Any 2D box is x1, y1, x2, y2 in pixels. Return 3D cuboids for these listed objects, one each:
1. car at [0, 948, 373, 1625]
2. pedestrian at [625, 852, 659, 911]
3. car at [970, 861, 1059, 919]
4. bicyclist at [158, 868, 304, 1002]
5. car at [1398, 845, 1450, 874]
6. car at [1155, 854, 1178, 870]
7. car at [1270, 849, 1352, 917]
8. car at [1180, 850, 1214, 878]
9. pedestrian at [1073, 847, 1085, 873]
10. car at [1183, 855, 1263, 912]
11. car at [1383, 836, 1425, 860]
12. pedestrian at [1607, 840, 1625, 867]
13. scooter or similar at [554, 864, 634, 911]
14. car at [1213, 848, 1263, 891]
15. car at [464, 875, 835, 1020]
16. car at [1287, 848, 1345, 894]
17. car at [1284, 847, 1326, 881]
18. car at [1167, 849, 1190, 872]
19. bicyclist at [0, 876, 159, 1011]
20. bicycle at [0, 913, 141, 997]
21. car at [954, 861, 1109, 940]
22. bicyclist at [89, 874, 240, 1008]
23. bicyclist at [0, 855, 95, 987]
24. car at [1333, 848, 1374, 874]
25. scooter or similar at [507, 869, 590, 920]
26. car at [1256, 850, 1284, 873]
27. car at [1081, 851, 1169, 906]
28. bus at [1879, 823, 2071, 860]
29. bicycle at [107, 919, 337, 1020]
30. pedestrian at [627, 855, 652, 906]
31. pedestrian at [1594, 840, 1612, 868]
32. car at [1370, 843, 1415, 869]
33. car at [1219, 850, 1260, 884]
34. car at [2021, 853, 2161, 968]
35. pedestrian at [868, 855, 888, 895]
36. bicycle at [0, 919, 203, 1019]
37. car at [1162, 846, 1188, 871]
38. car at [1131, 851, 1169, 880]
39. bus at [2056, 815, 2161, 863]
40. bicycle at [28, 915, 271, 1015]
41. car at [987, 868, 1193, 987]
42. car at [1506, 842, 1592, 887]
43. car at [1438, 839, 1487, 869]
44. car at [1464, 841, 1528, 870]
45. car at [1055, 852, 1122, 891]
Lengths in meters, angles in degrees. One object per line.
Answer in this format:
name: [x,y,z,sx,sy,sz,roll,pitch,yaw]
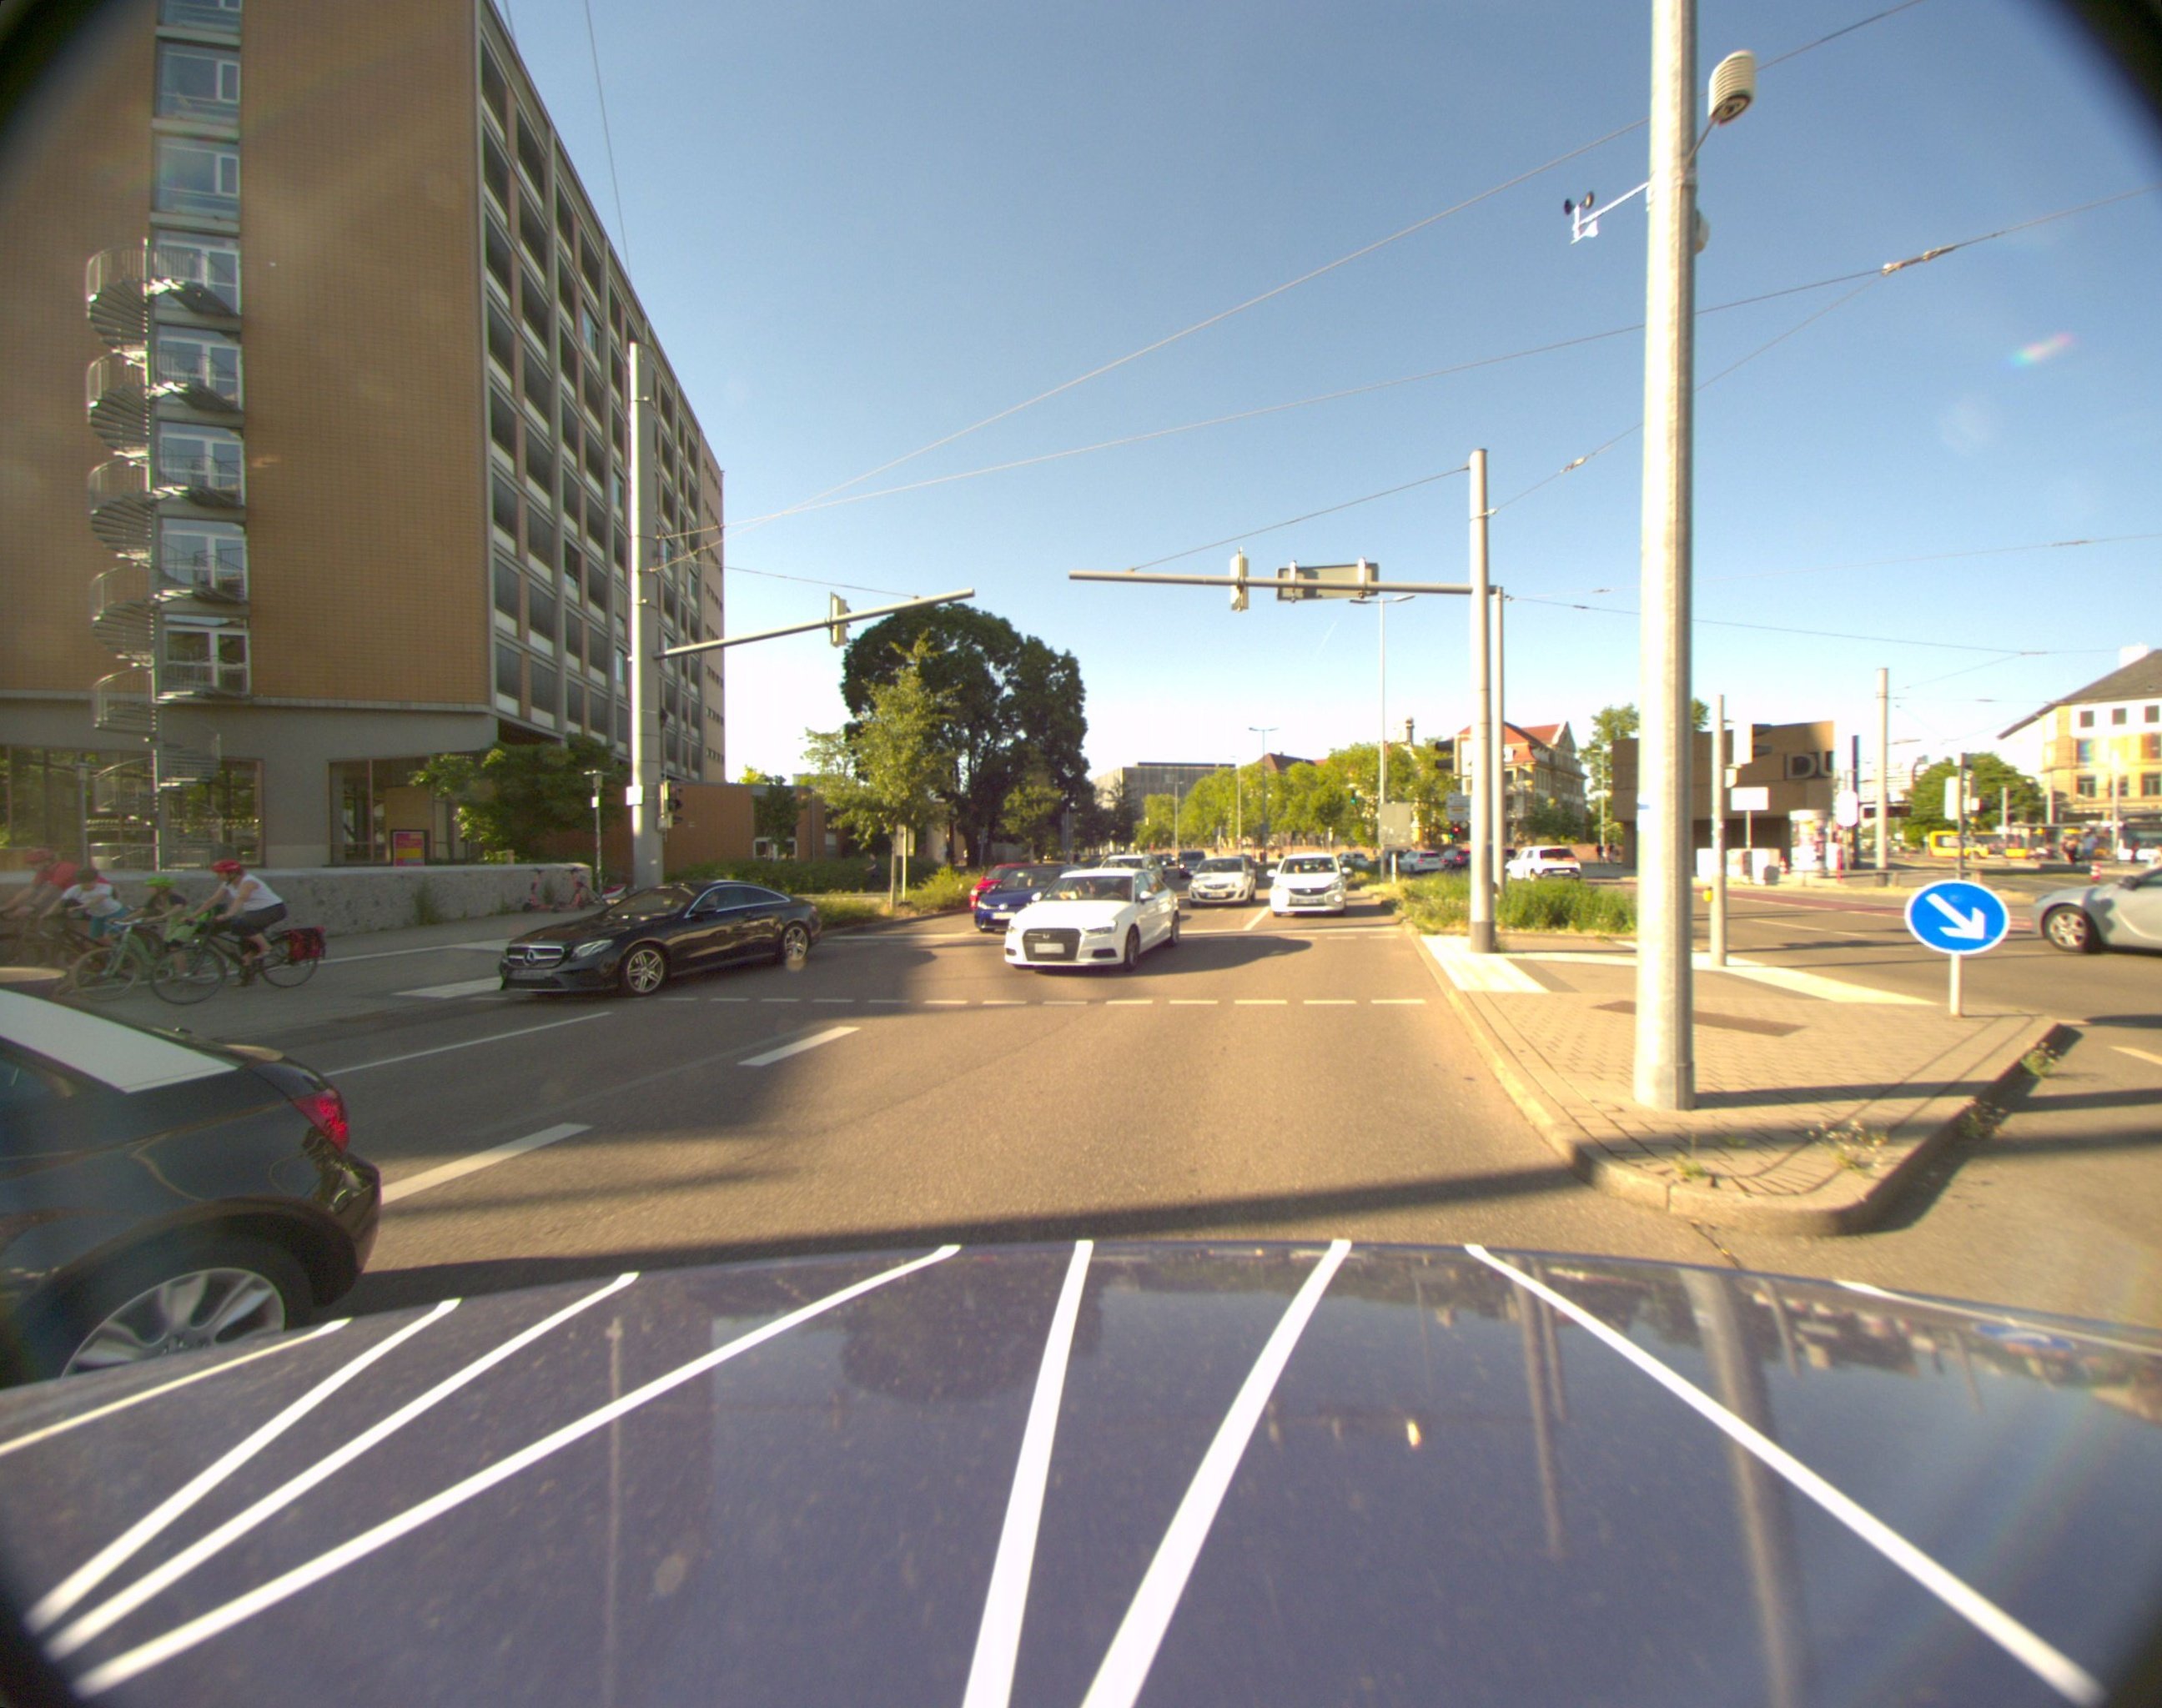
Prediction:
car: [-3.527,1.038,0.718,1.692,1.380,3.836,-1,0,15]
pedestrian: [-12.863,0.799,22.255,0.485,1.701,0.626,-3,0,35]
car: [-1.918,1.036,23.282,1.754,1.456,4.021,-1,2,9]
bicyclist: [-10.894,0.997,9.772,0.693,1.578,1.017,3,1,7]
car: [21.280,0.337,47.315,1.856,1.620,3.873,-4,0,8]
car: [10.074,0.955,89.736,1.999,1.674,4.707,-3,-1,-1]
car: [5.817,0.653,19.009,1.718,1.483,3.876,-2,0,19]
car: [7.660,0.614,50.054,1.820,1.718,4.004,-1,0,14]
pedestrian: [-0.122,0.385,50.511,0.564,1.651,0.593,-3,0,15]
car: [4.377,0.814,22.997,1.780,1.456,3.920,0,2,20]
car: [24.835,-0.441,58.531,1.856,1.620,3.872,-4,0,7]
pedestrian: [35.501,-0.044,50.408,0.802,1.758,0.975,-3,0,40]
scooter or similar: [-14.359,0.974,22.404,1.833,1.239,0.798,-3,0,-41]
car: [7.022,0.653,33.937,1.997,1.674,4.004,-3,-1,12]
car: [-5.881,1.161,11.175,1.814,1.483,4.660,-2,0,19]
car: [9.154,0.601,29.890,1.996,1.666,4.287,0,1,14]
car: [11.856,0.495,40.463,1.996,1.666,4.287,0,1,14]
car: [8.972,0.561,69.653,1.997,2.002,4.002,-1,0,8]
bicyclist: [-12.838,1.101,9.776,0.693,1.578,1.017,3,1,7]
bicycle: [-14.296,1.374,10.260,0.710,0.964,1.883,3,1,23]
car: [-0.958,0.991,17.733,1.814,1.483,4.660,-2,0,20]
bicyclist: [-11.841,1.079,9.849,0.693,1.578,1.017,3,1,7]
bicyclist: [-14.274,0.878,10.259,0.692,1.698,1.019,3,1,23]
car: [19.152,0.457,53.470,1.856,1.620,3.873,-4,0,8]
scooter or similar: [-14.586,1.095,20.864,1.710,1.239,0.798,-3,0,-27]
car: [14.325,0.560,57.594,1.996,1.666,4.287,0,1,14]
car: [1.509,0.727,24.430,1.996,1.597,4.004,-1,0,15]
bus: [93.925,-1.233,80.377,3.255,3.175,12.637,-3,-1,-26]
bicycle: [-10.913,1.427,9.773,0.711,0.964,1.881,3,1,7]
pedestrian: [-14.499,0.856,24.965,0.427,1.625,0.504,-3,0,8]
pedestrian: [34.619,0.006,50.351,0.802,1.758,0.975,-3,0,40]
car: [21.938,0.142,53.659,1.856,1.620,3.872,-4,0,7]
car: [8.815,0.691,41.921,1.997,1.674,4.004,-3,-1,14]
car: [14.343,0.712,8.846,1.844,1.415,4.435,-1,0,11]
pedestrian: [-8.429,0.855,31.607,0.573,1.625,0.504,-3,0,8]
bicycle: [-12.836,1.419,9.805,0.711,0.964,1.881,3,1,7]
car: [7.762,0.349,62.229,1.997,2.002,4.002,-1,0,8]
car: [4.517,0.717,49.350,1.820,1.718,4.004,-1,0,14]
bus: [78.184,-1.202,57.669,3.243,3.175,12.685,-4,-1,44]
bicycle: [-11.863,1.363,9.792,0.711,0.964,1.881,3,1,7]
car: [0.377,1.008,12.026,1.823,1.380,4.464,-2,0,20]
car: [18.882,0.392,30.858,1.719,1.621,3.874,-2,0,11]
car: [26.918,-0.035,53.723,1.997,2.002,4.002,-1,0,9]
car: [26.148,0.070,48.005,1.863,1.620,4.038,-4,0,2]
car: [0.413,0.707,32.756,1.753,1.456,4.023,0,2,18]
